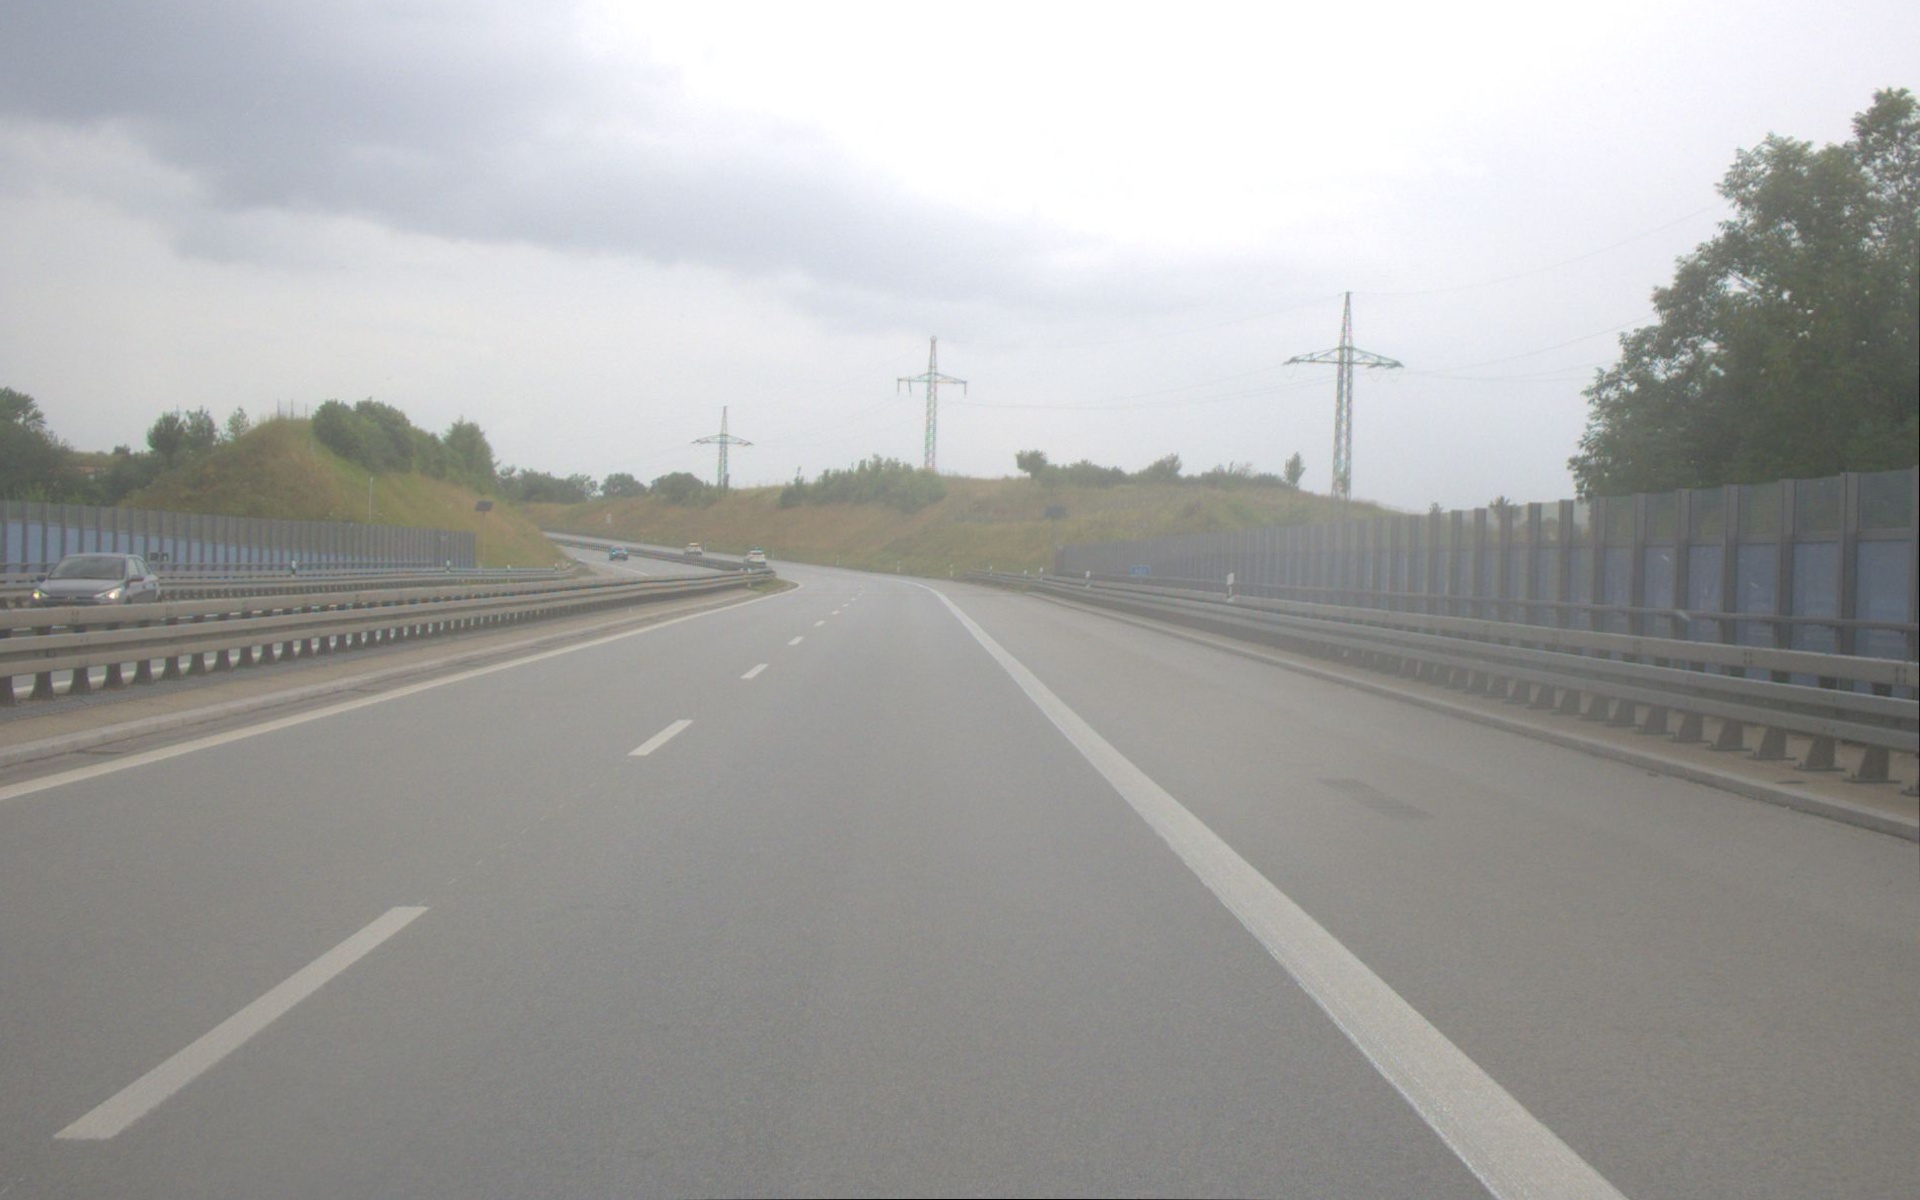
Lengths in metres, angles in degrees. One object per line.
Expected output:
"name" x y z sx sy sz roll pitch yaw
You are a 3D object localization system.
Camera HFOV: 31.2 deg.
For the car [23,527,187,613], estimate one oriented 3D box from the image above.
"car" -15.761 -0.564 63.571 1.993 1.510 4.288 1 1 -1
